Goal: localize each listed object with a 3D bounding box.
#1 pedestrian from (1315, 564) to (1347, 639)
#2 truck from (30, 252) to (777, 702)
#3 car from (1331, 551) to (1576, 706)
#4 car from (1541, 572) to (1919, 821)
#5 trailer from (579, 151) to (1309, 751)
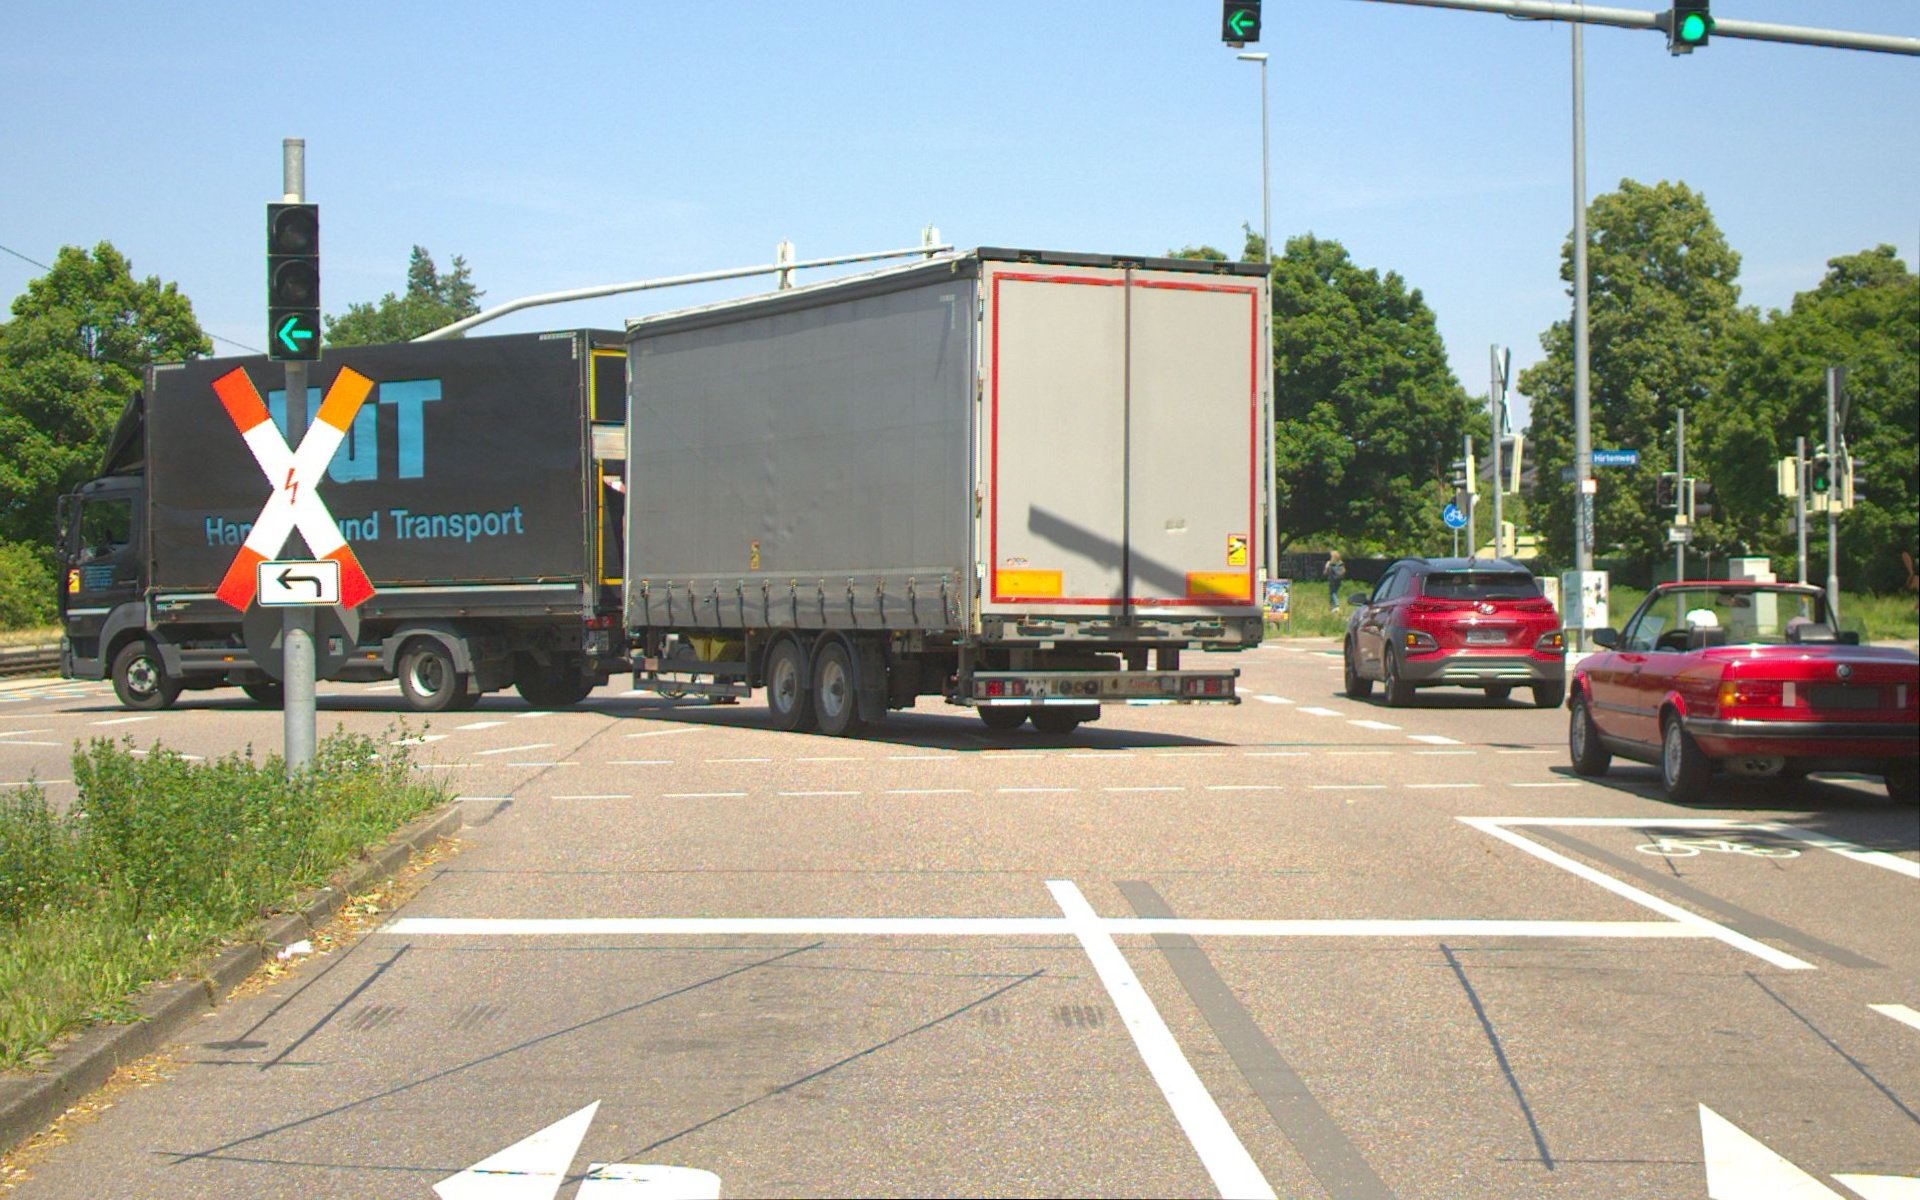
[{"bbox_3d":[9.978,0.031,92.437,0.742,2.007,0.613,1,1,-1],"label":"pedestrian"},{"bbox_3d":[-6.067,-1.152,36.629,8.273,4.330,2.830,0,-1,36],"label":"truck"},{"bbox_3d":[5.214,0.263,36.789,1.858,1.544,3.887,1,1,-3],"label":"car"},{"bbox_3d":[5.014,0.544,22.014,1.654,1.392,4.268,1,1,-3],"label":"car"},{"bbox_3d":[-0.498,-1.171,29.844,2.826,4.406,8.751,1,1,-25],"label":"trailer"}]
